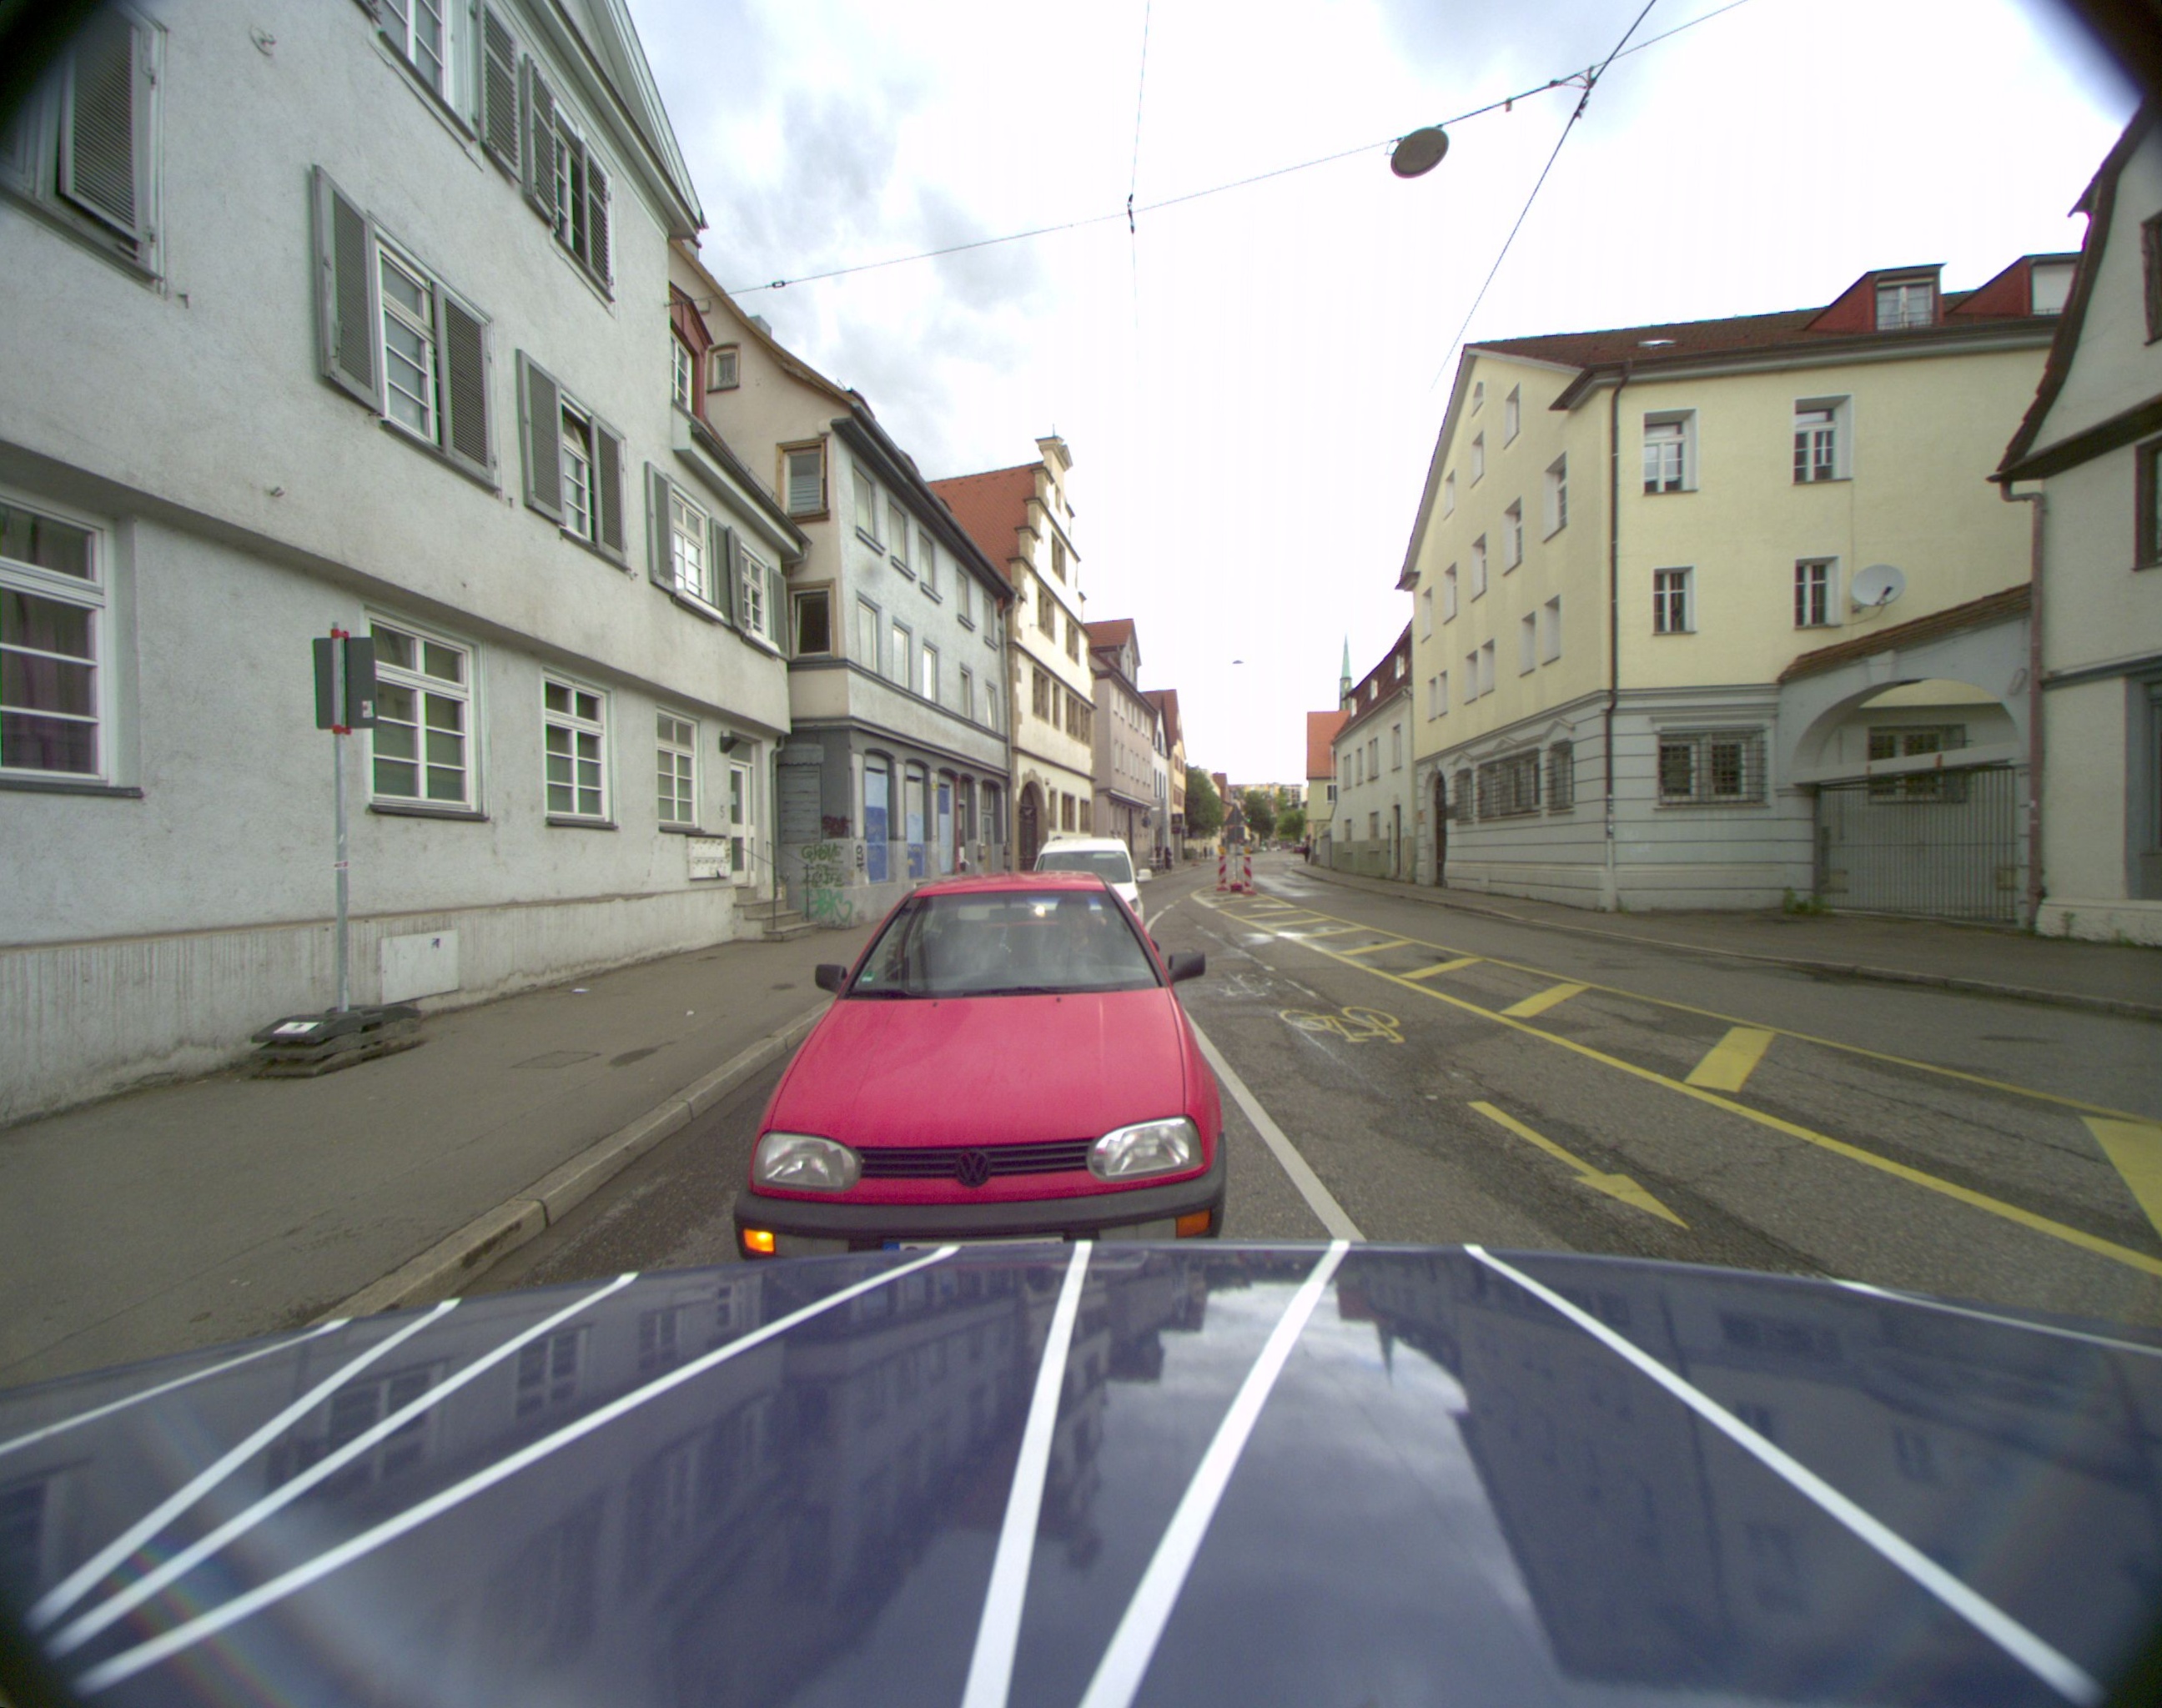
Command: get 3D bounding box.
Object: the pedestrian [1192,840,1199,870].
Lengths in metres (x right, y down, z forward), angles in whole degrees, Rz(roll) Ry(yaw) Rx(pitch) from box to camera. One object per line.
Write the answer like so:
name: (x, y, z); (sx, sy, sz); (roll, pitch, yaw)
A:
pedestrian: (9.666, 0.072, 64.008); (0.495, 2.513, 0.746); (-1, 0, 12)

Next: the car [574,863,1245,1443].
car: (-0.405, 0.858, 4.070); (1.792, 1.418, 3.999); (-2, 2, 2)

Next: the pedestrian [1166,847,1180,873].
pedestrian: (5.663, 0.355, 46.672); (0.725, 1.604, 0.649); (-1, 1, 13)

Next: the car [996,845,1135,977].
car: (-0.098, 0.730, 12.166); (1.814, 1.695, 4.257); (-1, 1, 3)

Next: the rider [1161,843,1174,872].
rider: (5.527, 0.238, 48.666); (0.719, 1.837, 0.798); (-1, 1, 3)

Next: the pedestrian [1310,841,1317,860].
pedestrian: (21.492, -0.343, 70.263); (0.592, 1.769, 0.505); (0, 0, 12)
